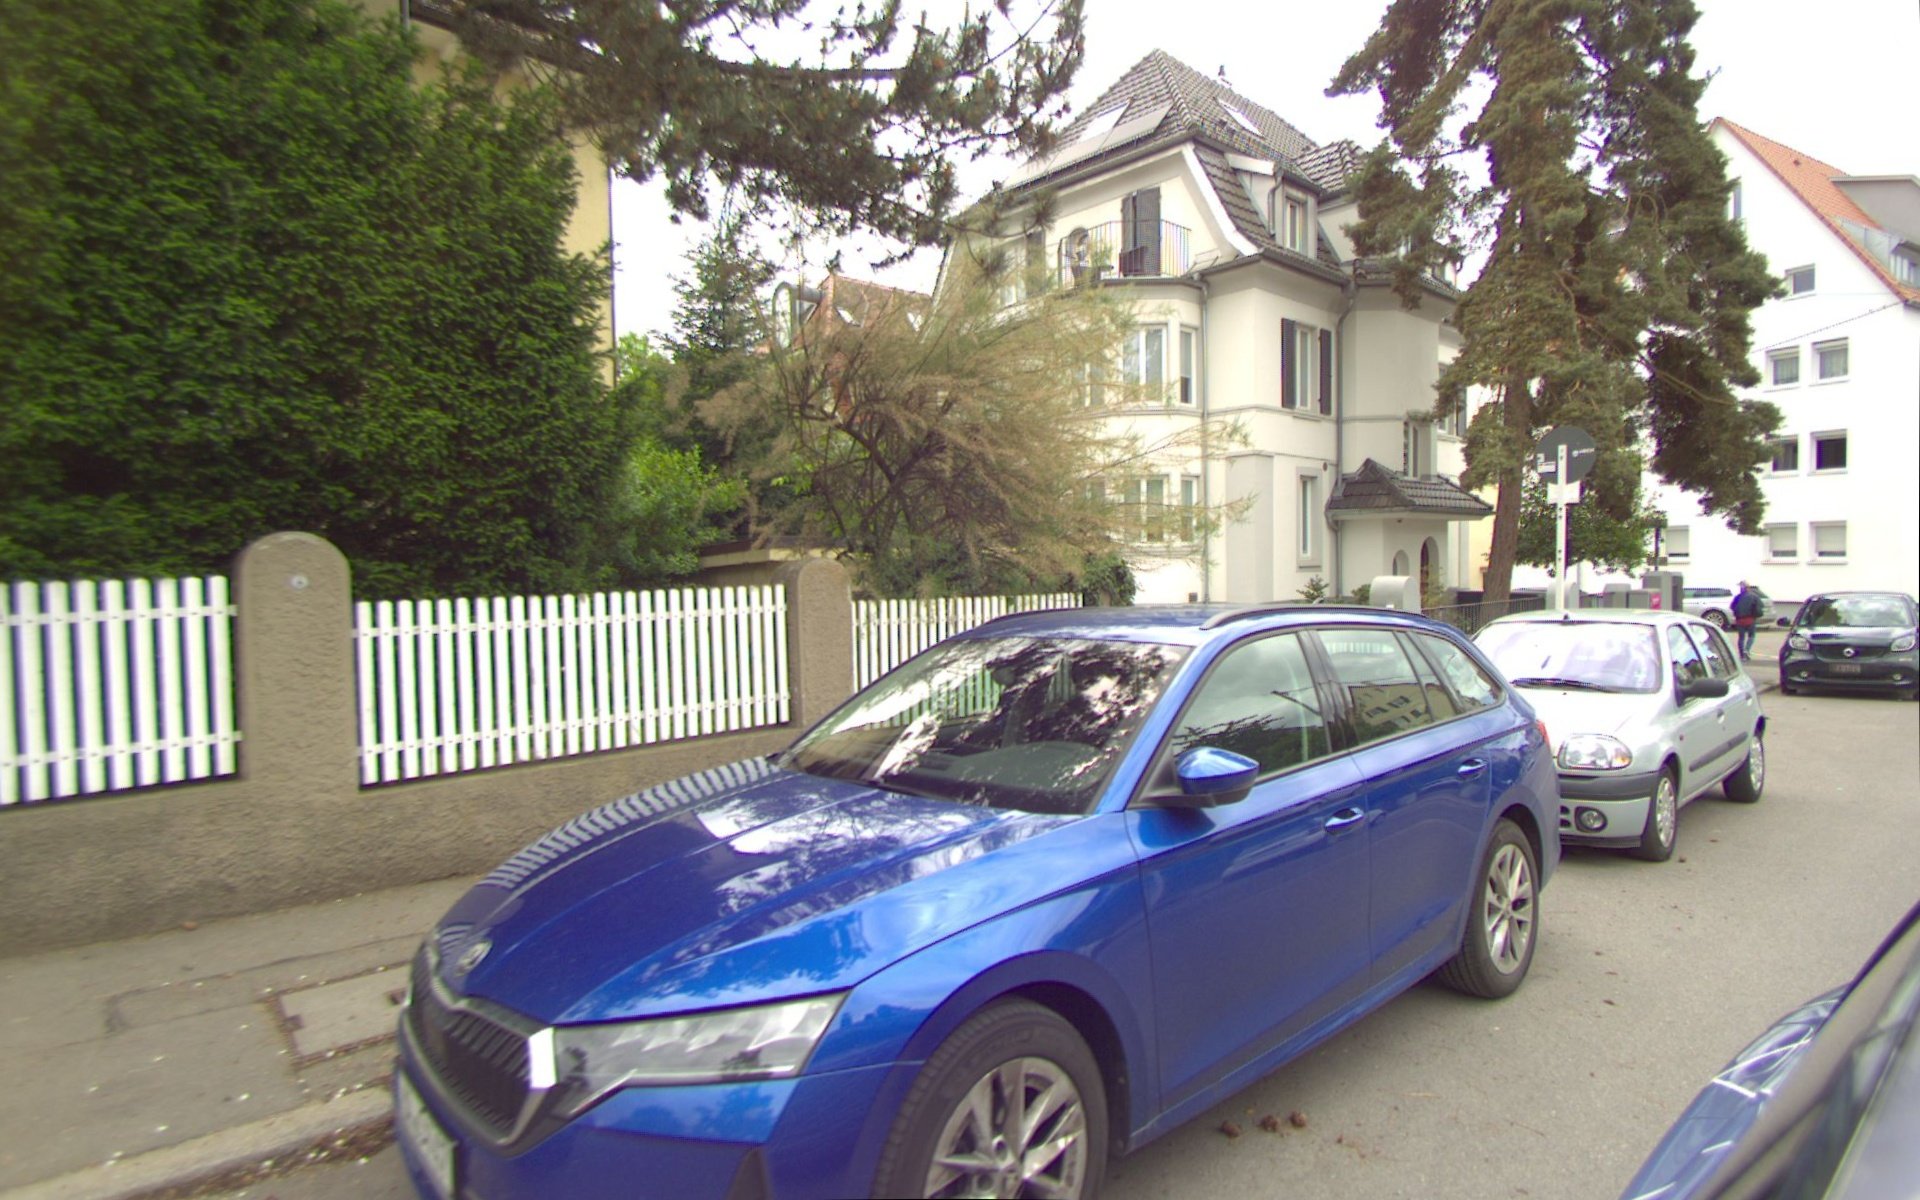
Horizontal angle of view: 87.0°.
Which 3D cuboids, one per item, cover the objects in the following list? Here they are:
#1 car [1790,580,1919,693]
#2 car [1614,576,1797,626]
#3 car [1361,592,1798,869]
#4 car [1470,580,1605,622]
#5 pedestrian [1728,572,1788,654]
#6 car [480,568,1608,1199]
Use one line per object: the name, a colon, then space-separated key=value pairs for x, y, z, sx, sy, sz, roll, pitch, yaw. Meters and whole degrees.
car: x=13.773 y=0.499 z=15.262 sx=2.820 sy=1.551 sz=1.572 roll=-1 pitch=-2 yaw=-44
car: x=23.491 y=0.011 z=32.075 sx=1.728 sy=1.468 sz=4.364 roll=-1 pitch=1 yaw=-28
car: x=4.422 y=0.675 z=7.020 sx=3.592 sy=1.418 sz=1.576 roll=-1 pitch=-1 yaw=-41
car: x=21.075 y=0.033 z=37.104 sx=1.702 sy=1.440 sz=4.006 roll=-1 pitch=0 yaw=-25
pedestrian: x=16.221 y=0.246 z=20.577 sx=0.889 sy=1.595 sz=0.683 roll=-2 pitch=4 yaw=-35
car: x=0.677 y=0.657 z=3.561 sx=3.982 sy=1.477 sz=1.650 roll=-1 pitch=0 yaw=-41
